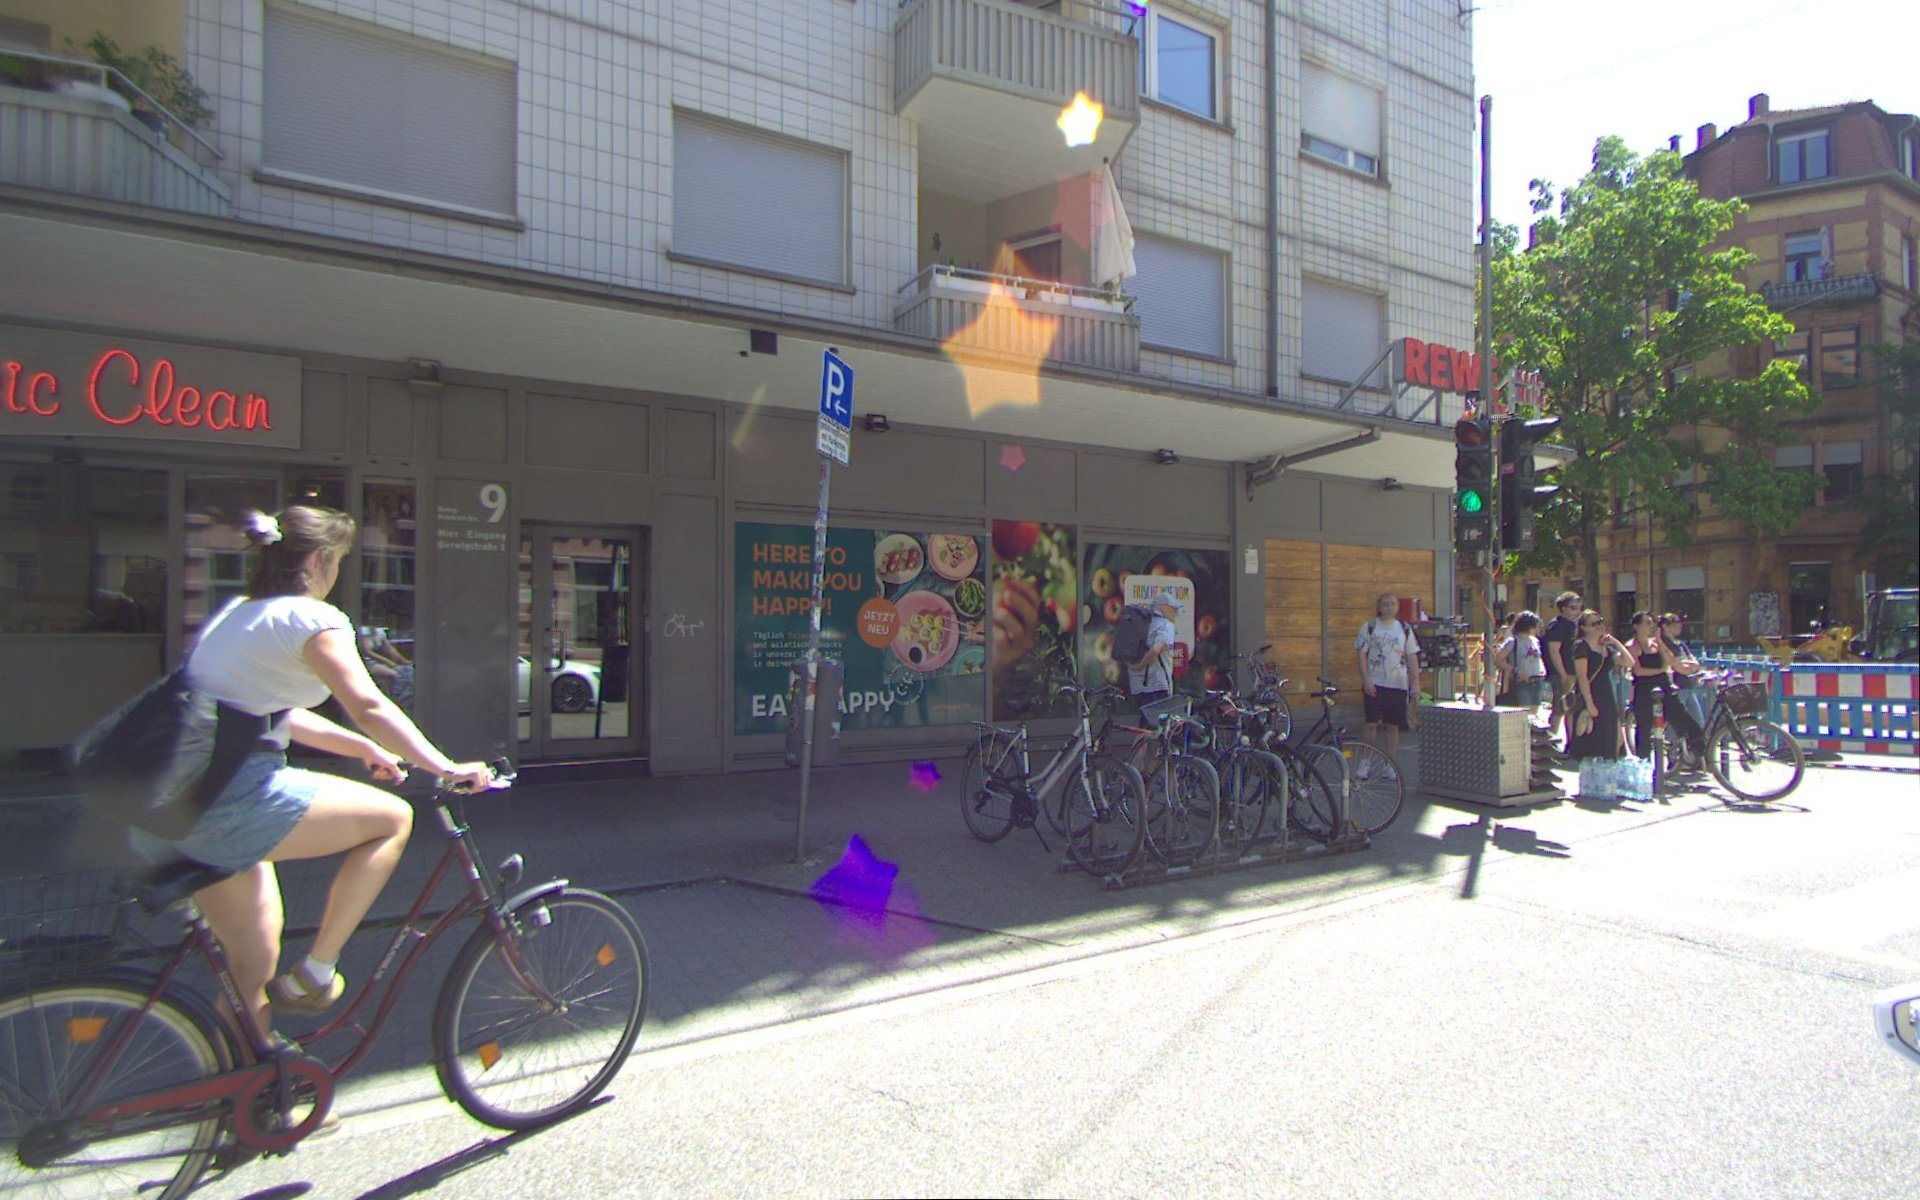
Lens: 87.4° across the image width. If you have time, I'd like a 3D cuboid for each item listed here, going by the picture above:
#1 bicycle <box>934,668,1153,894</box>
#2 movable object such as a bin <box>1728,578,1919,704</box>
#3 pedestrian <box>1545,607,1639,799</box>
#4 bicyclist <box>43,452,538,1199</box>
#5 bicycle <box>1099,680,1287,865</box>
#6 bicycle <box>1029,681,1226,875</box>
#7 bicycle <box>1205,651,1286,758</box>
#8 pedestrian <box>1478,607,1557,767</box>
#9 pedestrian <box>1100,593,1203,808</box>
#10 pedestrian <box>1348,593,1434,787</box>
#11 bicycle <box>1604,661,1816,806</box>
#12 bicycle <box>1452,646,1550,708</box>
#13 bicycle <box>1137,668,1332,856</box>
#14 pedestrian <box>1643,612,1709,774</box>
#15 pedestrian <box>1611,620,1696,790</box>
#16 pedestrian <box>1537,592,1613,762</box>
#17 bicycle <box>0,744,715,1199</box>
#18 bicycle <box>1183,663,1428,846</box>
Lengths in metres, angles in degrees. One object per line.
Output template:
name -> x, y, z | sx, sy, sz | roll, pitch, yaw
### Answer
bicycle -> 0.480, 1.068, 6.444 | 0.521, 1.154, 1.574 | 1, 0, -33
movable object such as a bin -> 20.792, 0.902, 23.143 | 1.932, 2.694, 4.521 | 1, -1, -30
pedestrian -> 5.690, 0.904, 9.052 | 0.506, 1.654, 0.538 | 1, -2, -32
bicyclist -> -1.712, 0.572, 2.632 | 0.971, 1.729, 0.618 | 1, -2, -41
bicycle -> 1.592, 1.150, 7.057 | 0.332, 1.049, 1.439 | 1, 0, -33
bicycle -> 1.081, 1.136, 6.794 | 0.394, 1.044, 1.485 | 1, 0, -33
bicycle -> 3.258, 1.153, 11.403 | 0.317, 1.101, 1.425 | -1, -1, 41
pedestrian -> 5.970, 0.910, 10.760 | 0.593, 1.654, 0.506 | 1, -2, -32
pedestrian -> 1.651, 0.837, 8.652 | 0.648, 1.749, 0.630 | -1, -2, 39
pedestrian -> 4.138, 0.843, 9.648 | 0.593, 1.794, 0.506 | 1, -2, -32
bicycle -> 6.959, 1.188, 9.441 | 0.459, 1.134, 1.808 | 0, 0, -8
bicycle -> 9.957, 1.401, 18.526 | 1.553, 1.086, 0.340 | -2, -3, 44
bicycle -> 1.952, 1.114, 7.329 | 0.332, 1.132, 1.510 | 1, 0, -33
pedestrian -> 7.471, 0.950, 10.486 | 0.470, 1.639, 0.387 | 1, -2, -32
pedestrian -> 6.666, 0.988, 9.674 | 0.450, 1.586, 0.497 | 0, 0, -4
pedestrian -> 6.911, 0.848, 11.295 | 0.593, 1.844, 0.506 | 1, -2, -32
bicycle -> -1.665, 1.031, 2.661 | 1.925, 1.106, 0.597 | 2, -2, -42
bicycle -> 2.607, 1.115, 7.779 | 0.572, 1.138, 1.786 | 1, 0, -35
